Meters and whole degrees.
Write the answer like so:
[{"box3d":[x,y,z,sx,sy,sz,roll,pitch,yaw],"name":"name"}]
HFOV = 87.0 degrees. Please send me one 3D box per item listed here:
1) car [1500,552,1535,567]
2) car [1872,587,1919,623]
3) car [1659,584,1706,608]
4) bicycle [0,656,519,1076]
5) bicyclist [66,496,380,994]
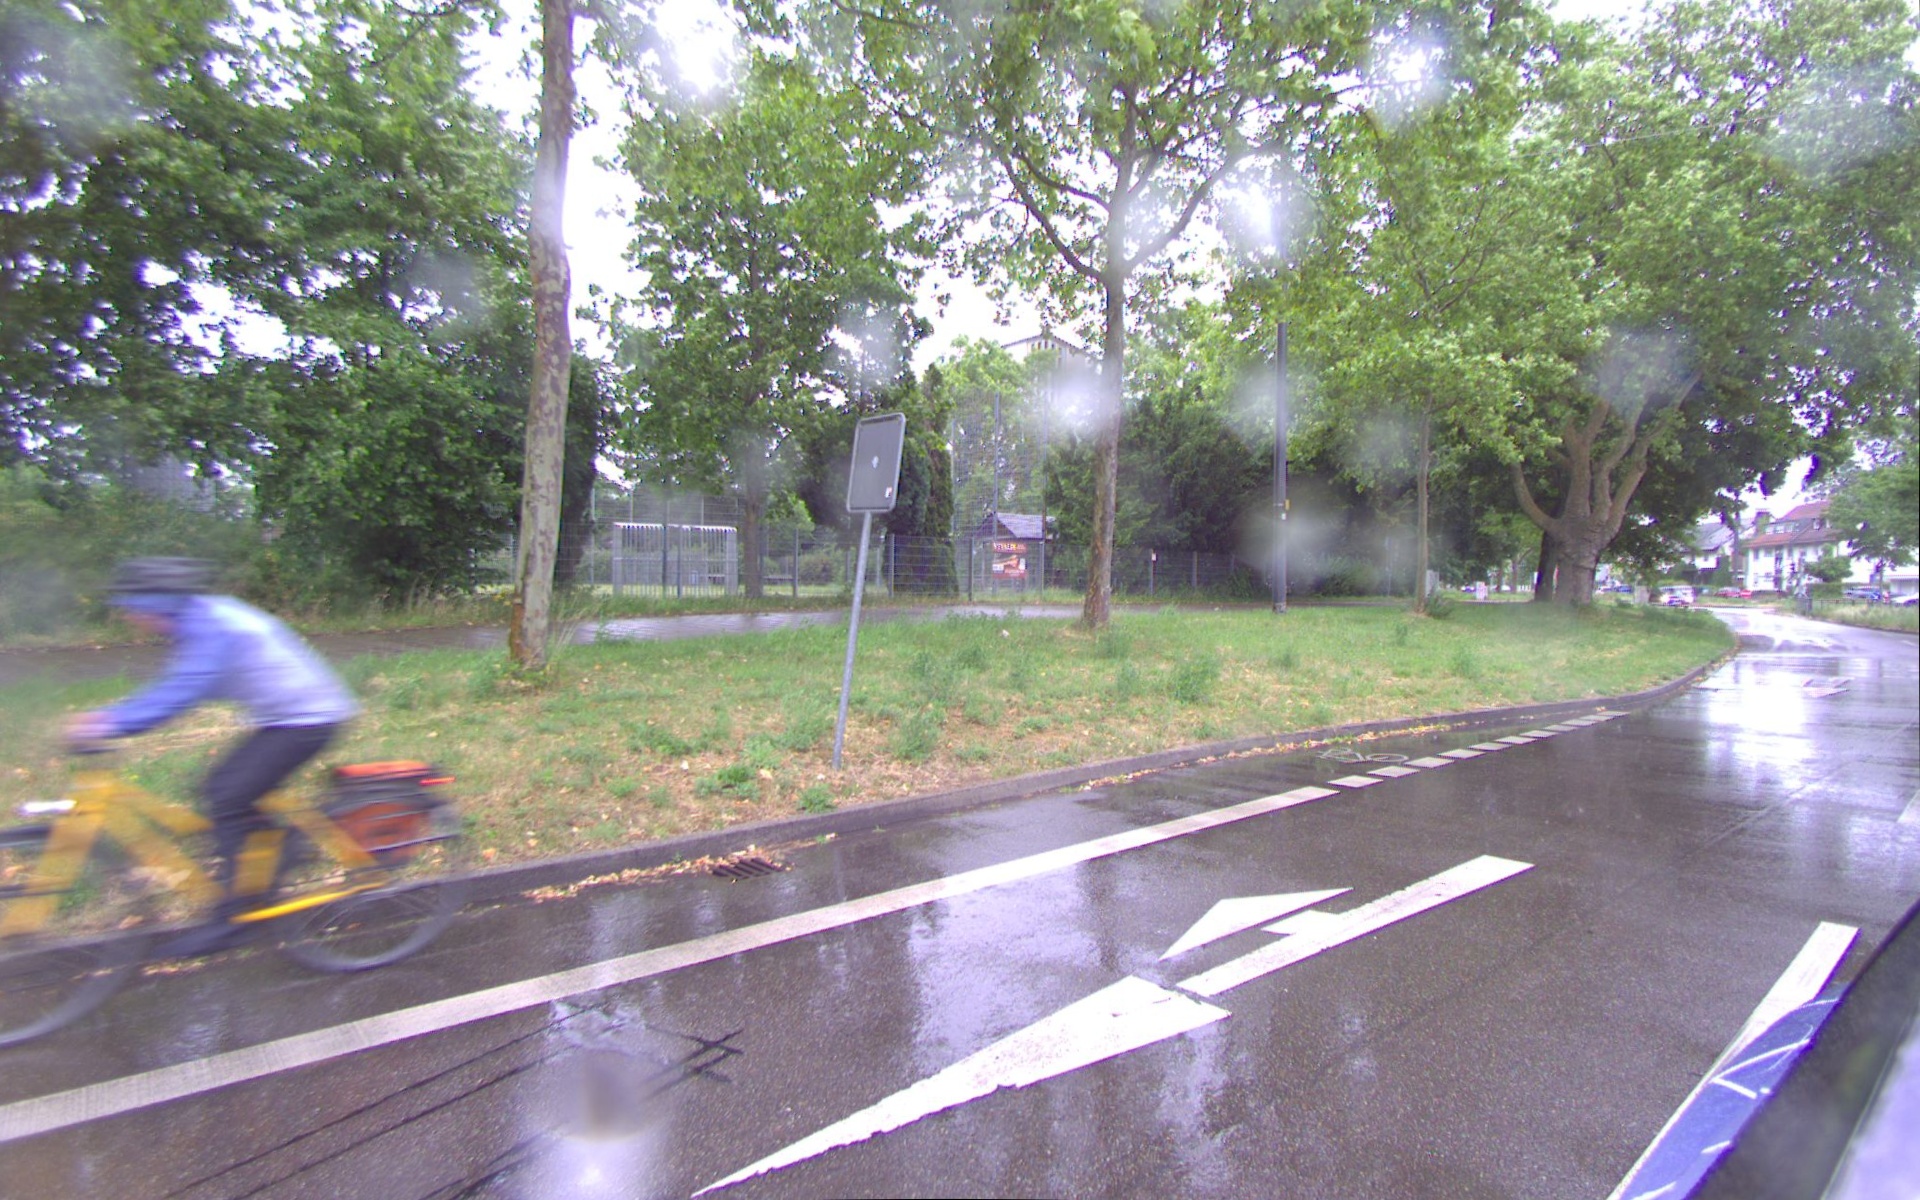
[{"box3d":[73.769,-5.313,134.005,3.958,1.850,1.983,0,0,25],"name":"car"},{"box3d":[39.318,0.183,40.540,4.025,1.438,1.652,0,0,39],"name":"car"},{"box3d":[50.927,-0.309,71.413,1.852,1.638,3.779,0,0,23],"name":"car"},{"box3d":[-2.651,0.832,3.613,1.852,1.131,0.692,-1,1,-40],"name":"bicycle"},{"box3d":[-2.627,0.433,3.629,0.829,1.525,0.692,-1,1,-40],"name":"bicyclist"}]
